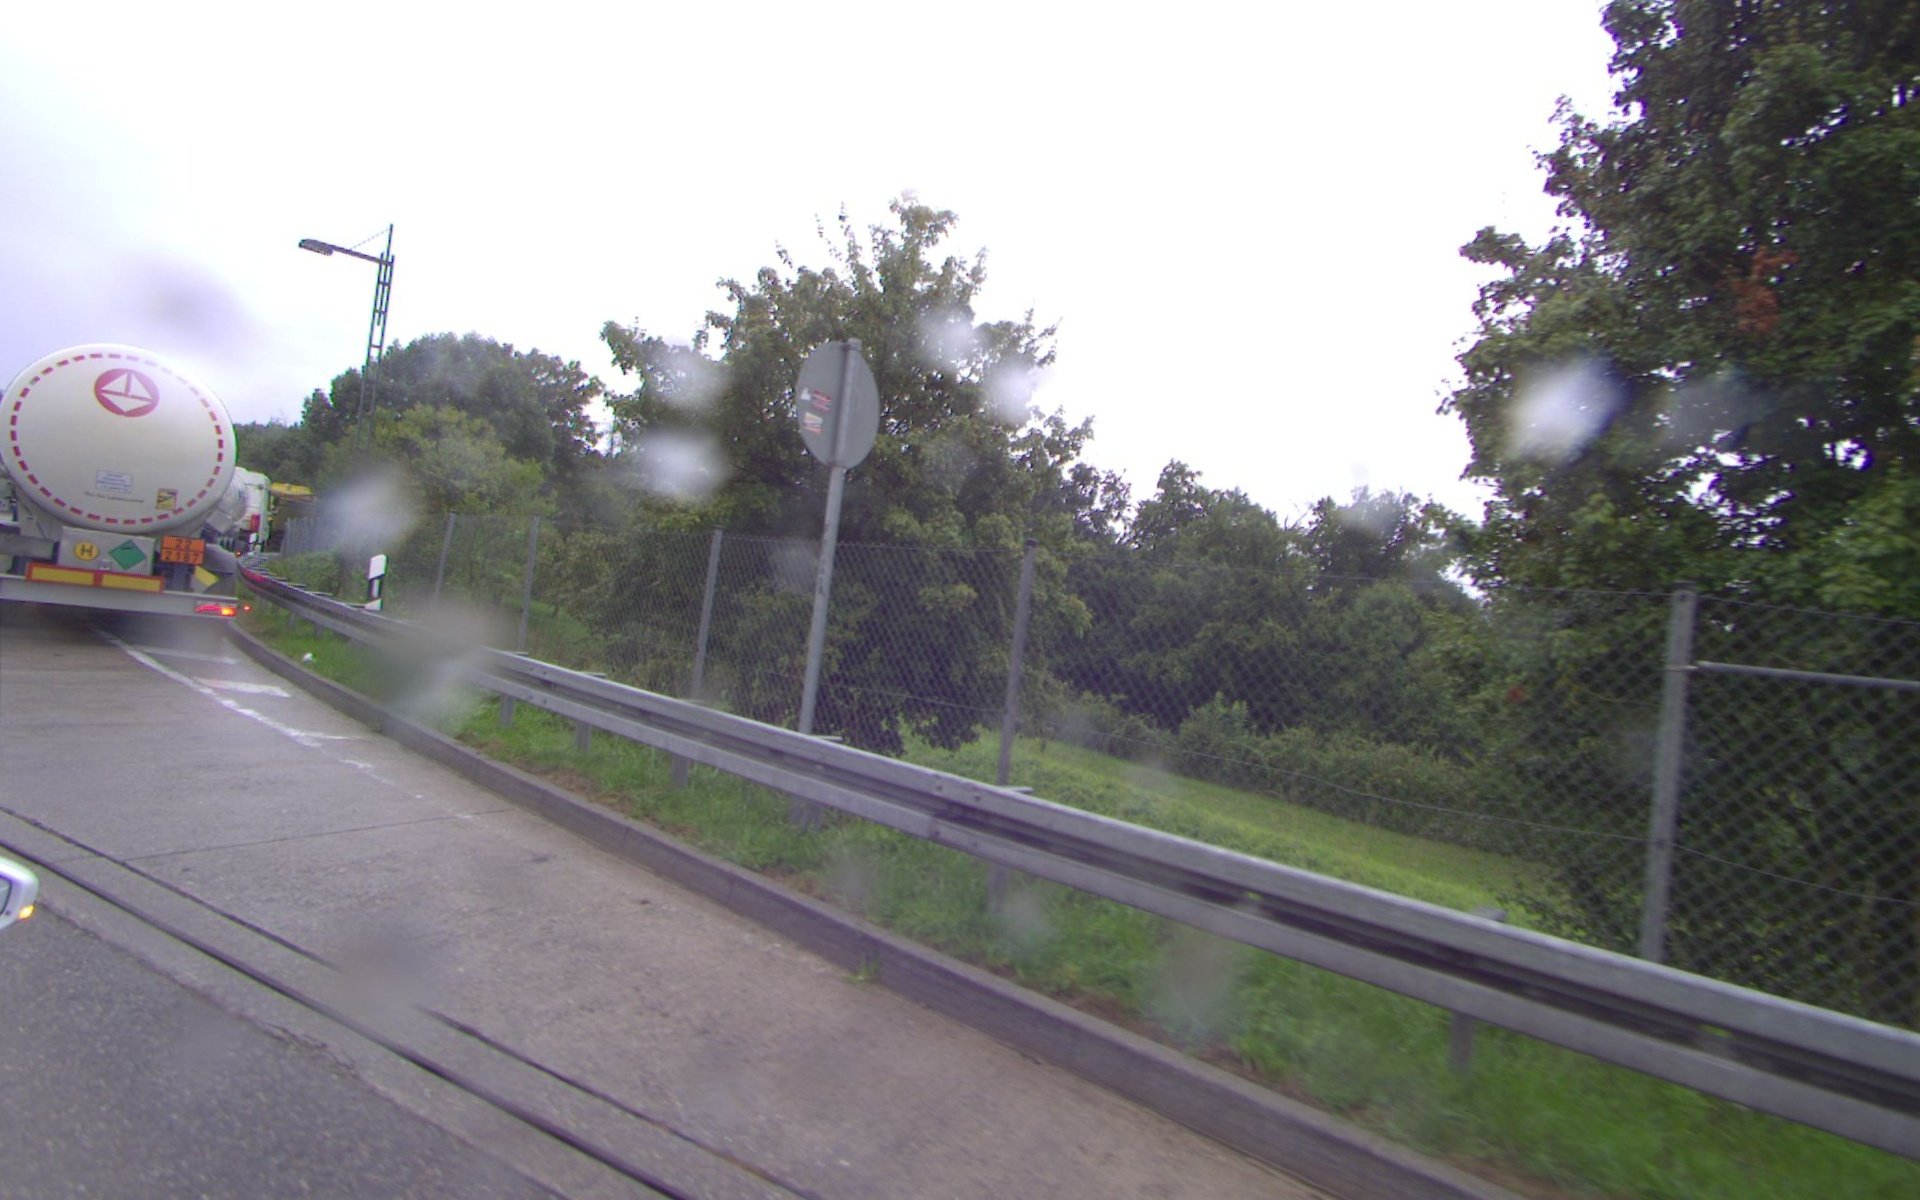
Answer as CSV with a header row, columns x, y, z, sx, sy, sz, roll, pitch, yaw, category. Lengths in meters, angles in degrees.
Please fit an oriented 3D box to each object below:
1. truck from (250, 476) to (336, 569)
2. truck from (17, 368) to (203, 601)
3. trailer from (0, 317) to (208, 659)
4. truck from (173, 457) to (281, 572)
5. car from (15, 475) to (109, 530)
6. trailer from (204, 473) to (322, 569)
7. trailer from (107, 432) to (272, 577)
x,y,z,sx,sy,sz,roll,pitch,yaw,category
-31.432,-3.555,47.535,2.159,3.873,4.121,8,-1,-22,truck
-15.808,-2.027,18.906,2.044,3.572,4.696,8,-2,-38,truck
-12.387,-1.398,14.442,1.972,3.262,10.212,8,-2,-38,trailer
-26.002,-2.937,35.896,2.129,3.554,4.613,8,-1,-28,truck
-41.596,-4.520,46.589,3.934,2.034,2.000,4,-5,32,car
-29.872,-3.223,43.454,2.160,3.432,7.527,8,-1,-21,trailer
-23.408,-2.691,31.096,2.115,3.481,10.179,8,-1,-28,trailer
